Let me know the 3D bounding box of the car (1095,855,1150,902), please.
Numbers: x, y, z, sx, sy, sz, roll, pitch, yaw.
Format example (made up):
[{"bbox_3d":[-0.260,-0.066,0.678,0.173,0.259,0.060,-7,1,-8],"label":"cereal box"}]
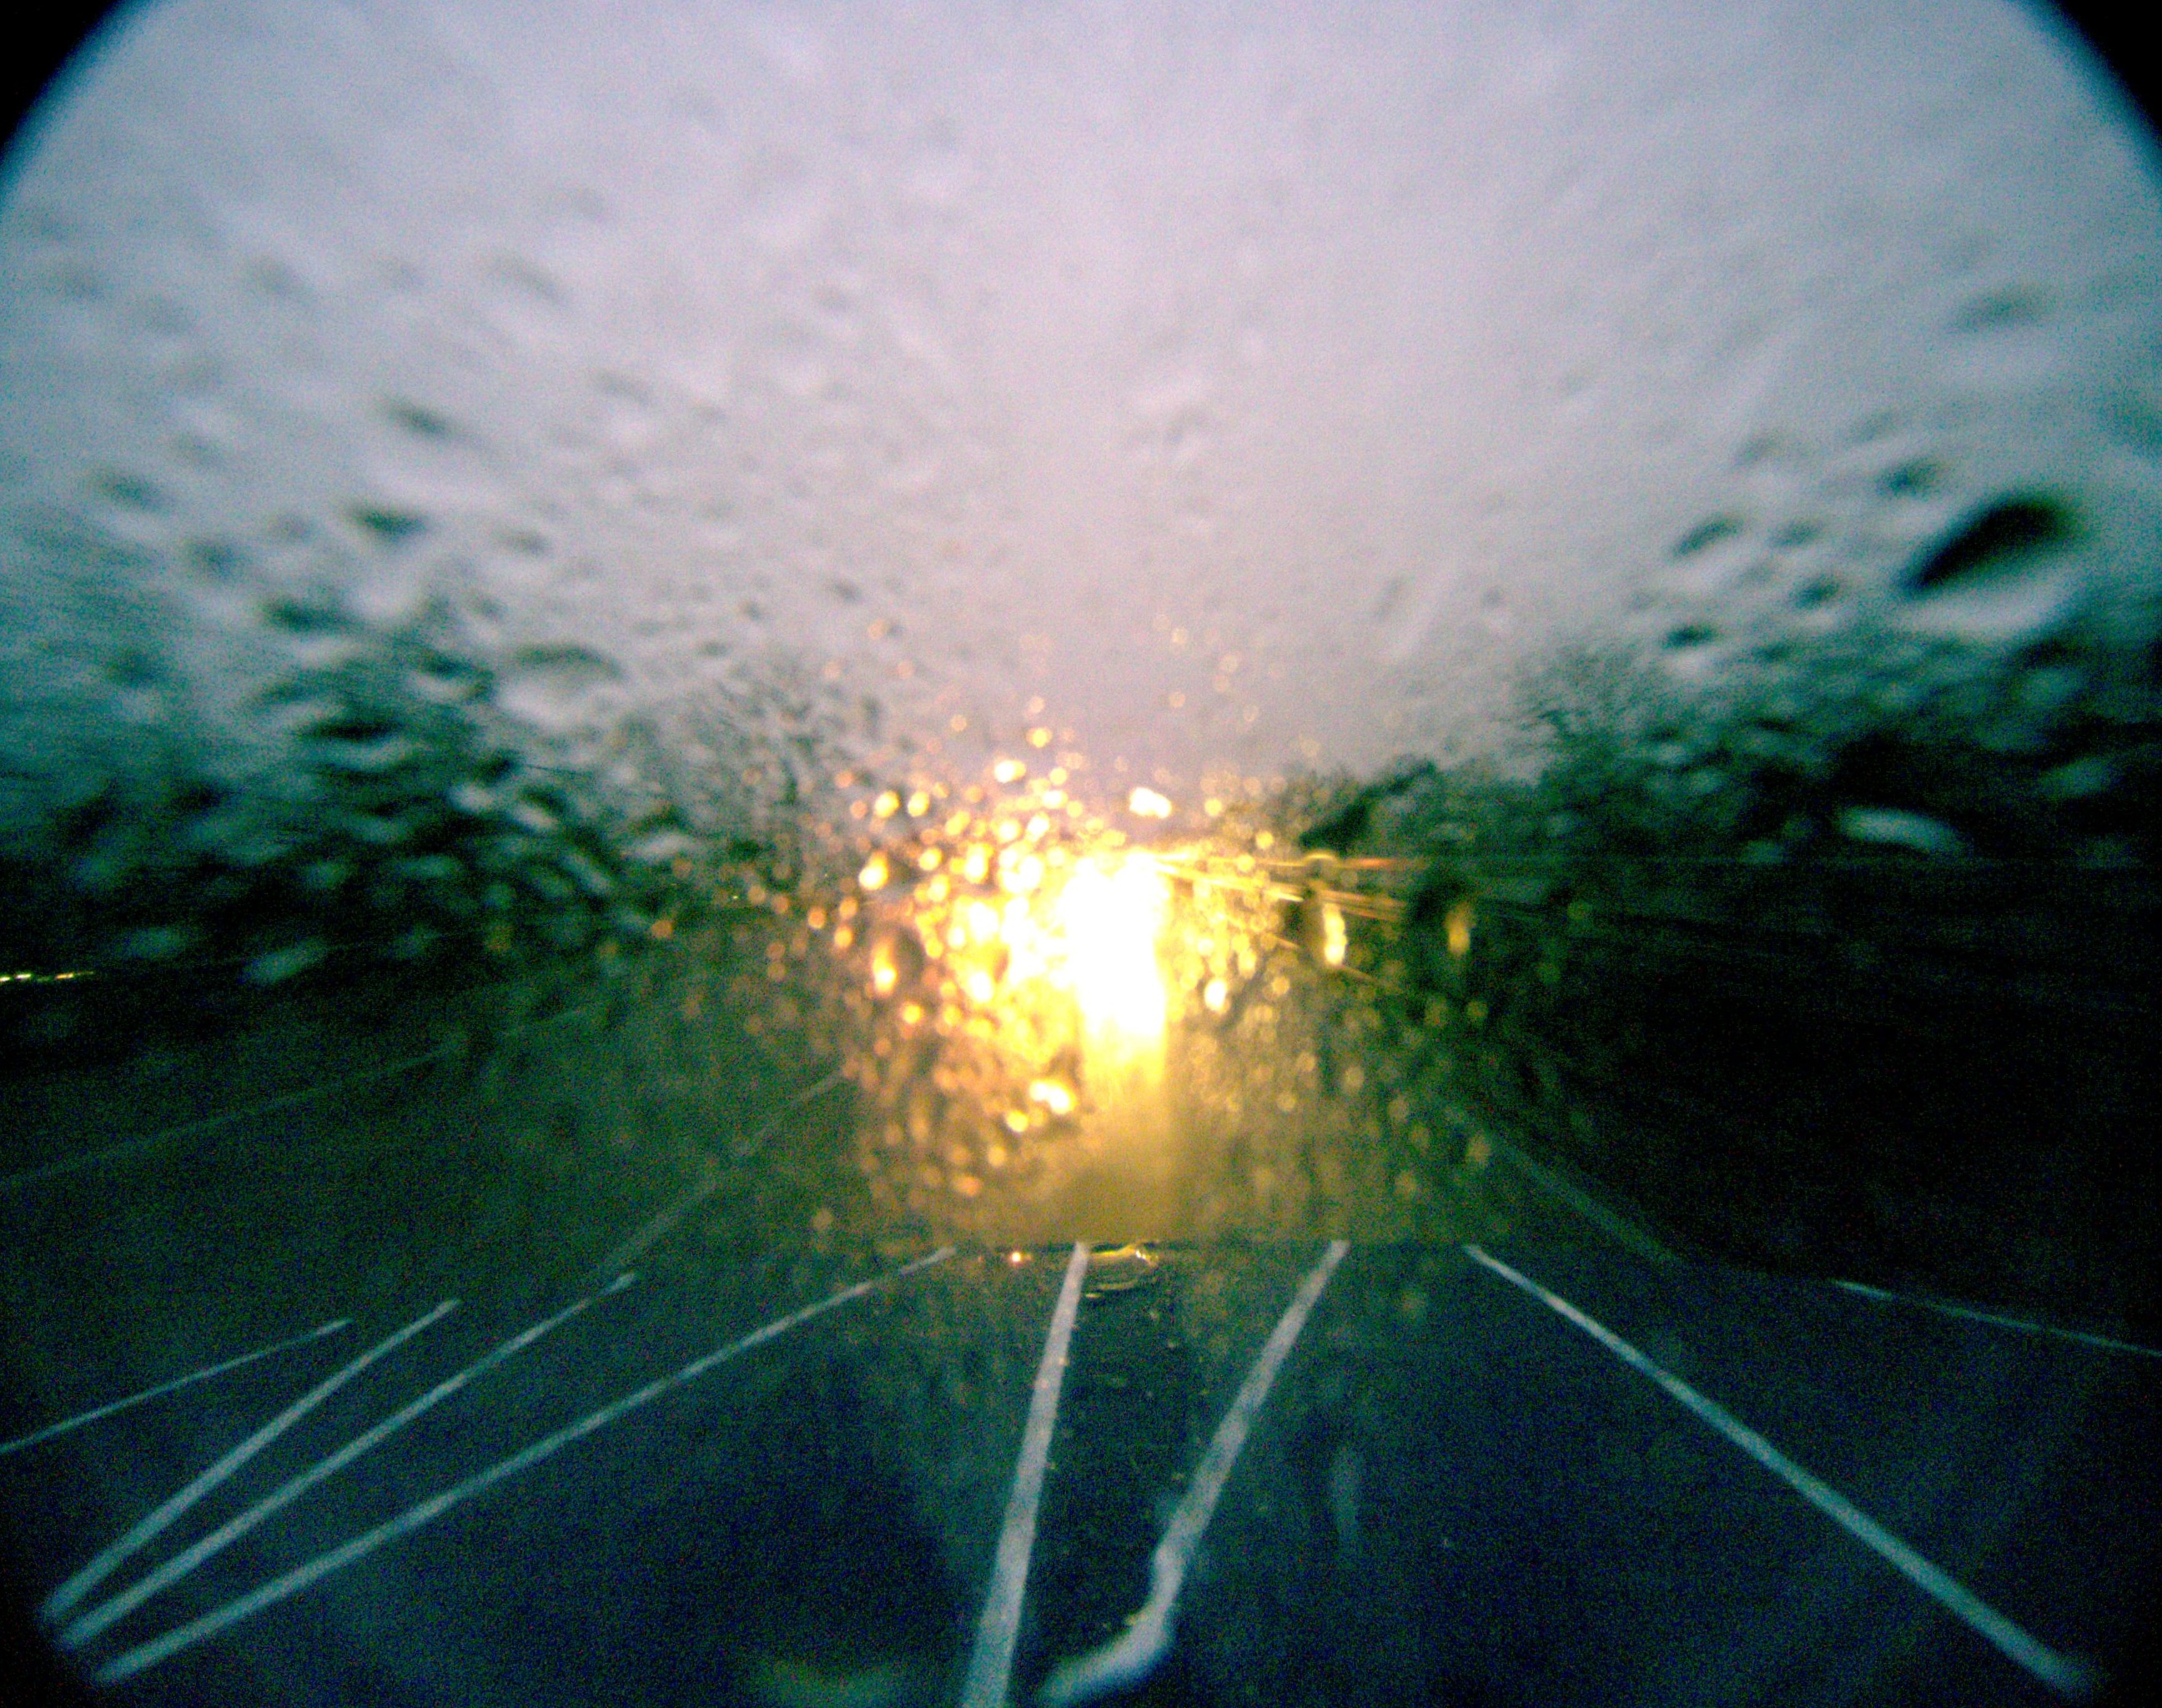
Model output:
[{"bbox_3d":[1.476,0.851,28.226,1.850,1.521,4.148,-2,0,1],"label":"car"}]

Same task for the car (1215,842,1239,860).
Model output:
[{"bbox_3d":[15.946,-0.310,83.028,1.850,1.903,4.304,-2,0,1],"label":"car"}]

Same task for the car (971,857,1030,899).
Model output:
[{"bbox_3d":[-3.286,0.945,31.826,1.850,1.521,4.148,-2,0,1],"label":"car"}]

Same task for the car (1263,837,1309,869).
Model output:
[{"bbox_3d":[13.271,-0.056,49.379,1.850,1.903,4.304,-2,0,1],"label":"car"}]

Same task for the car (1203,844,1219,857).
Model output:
[{"bbox_3d":[18.208,-0.487,106.572,1.849,1.793,3.994,-2,0,6],"label":"car"}]

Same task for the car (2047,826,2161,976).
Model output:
[{"bbox_3d":[11.882,0.447,6.479,1.850,1.520,4.304,-2,0,1],"label":"car"}]
